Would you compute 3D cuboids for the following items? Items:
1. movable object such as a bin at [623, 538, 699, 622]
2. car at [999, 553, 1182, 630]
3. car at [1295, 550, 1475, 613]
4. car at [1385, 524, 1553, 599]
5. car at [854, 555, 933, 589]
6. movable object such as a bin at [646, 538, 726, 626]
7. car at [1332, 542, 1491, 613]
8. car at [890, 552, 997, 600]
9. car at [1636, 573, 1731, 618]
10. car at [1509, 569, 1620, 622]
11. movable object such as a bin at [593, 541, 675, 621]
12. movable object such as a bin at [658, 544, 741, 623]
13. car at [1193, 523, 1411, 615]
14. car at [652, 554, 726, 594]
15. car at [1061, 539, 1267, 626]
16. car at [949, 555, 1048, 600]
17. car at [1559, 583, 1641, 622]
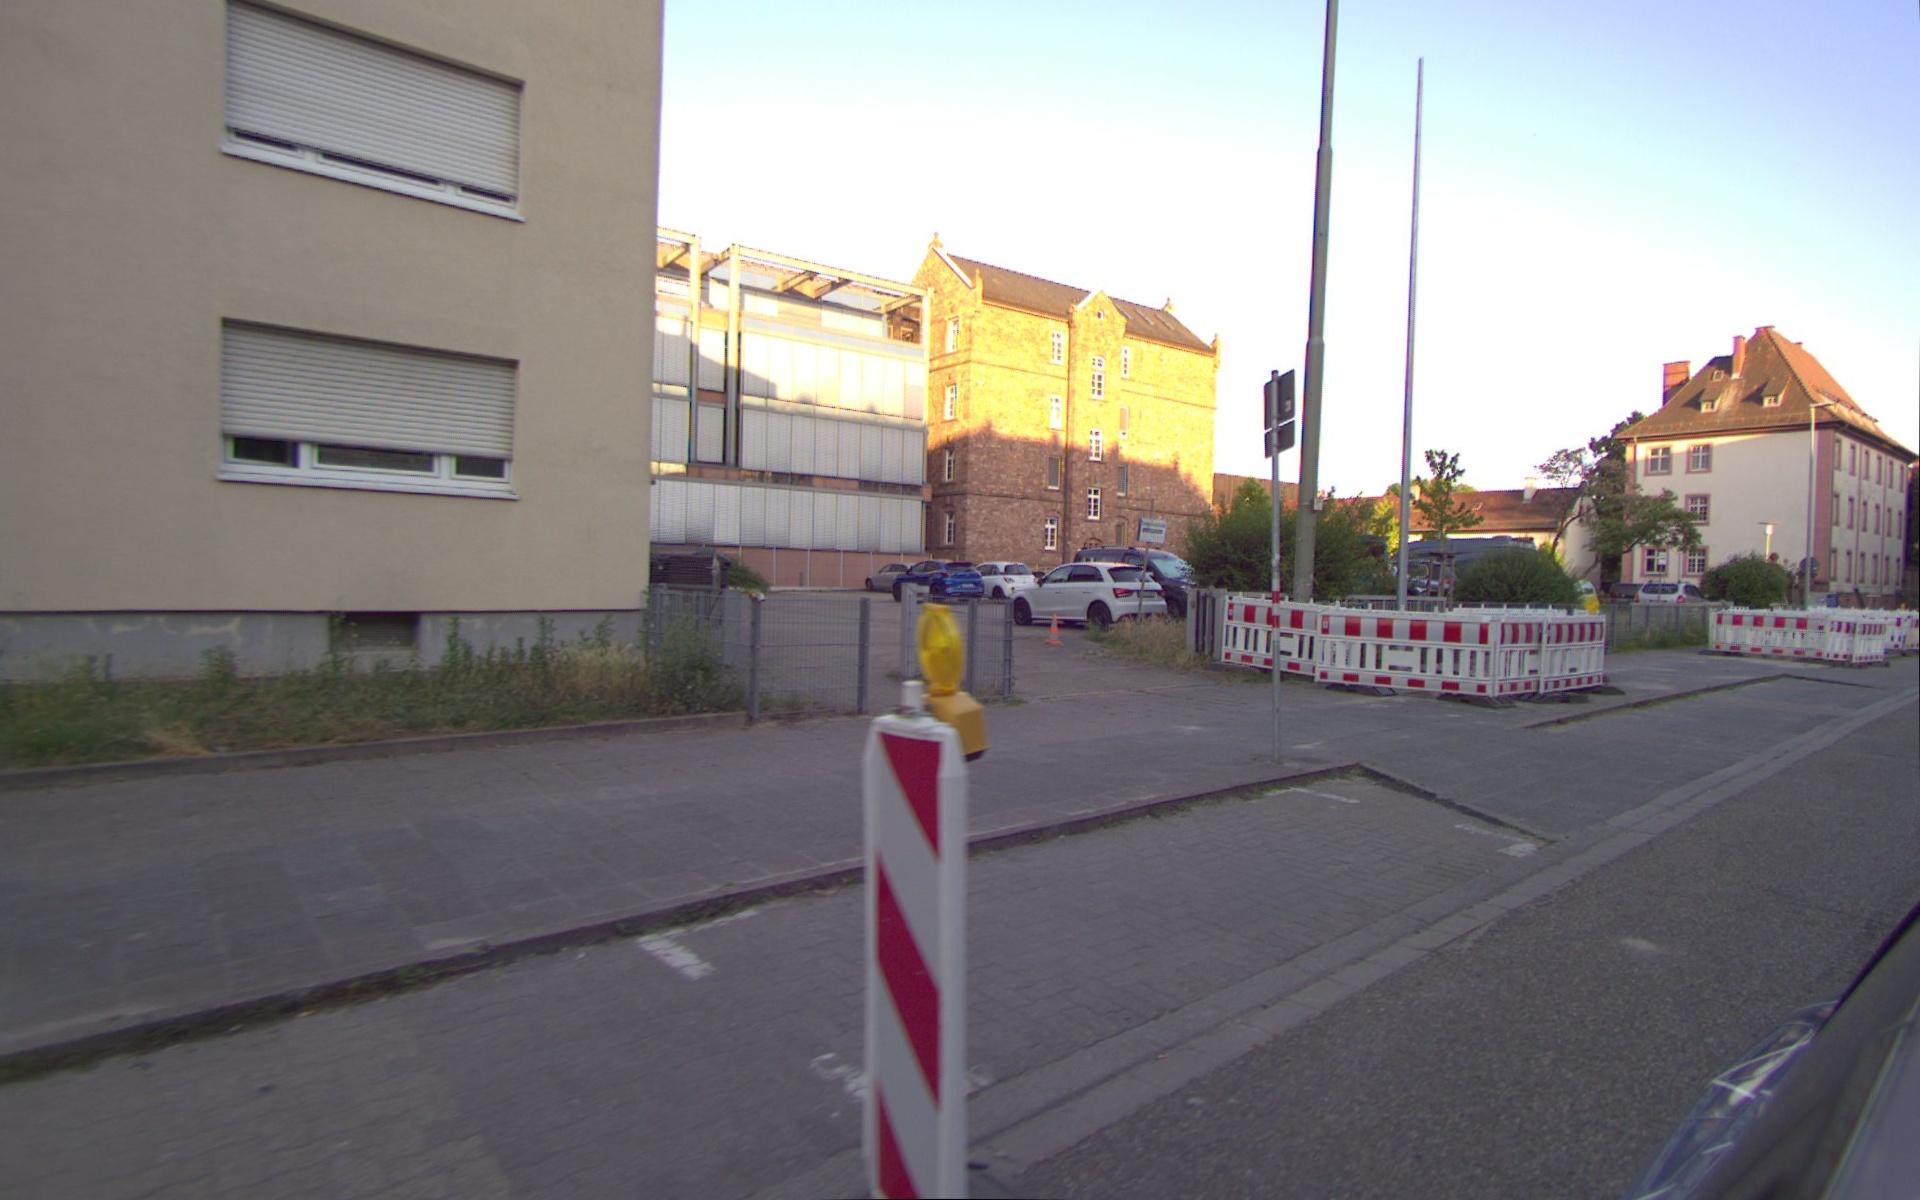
[{"bbox_3d":[-5.482,-0.378,18.526,0.994,1.483,1.000,0,2,-40],"label":"movable object such as a bin"},{"bbox_3d":[2.727,-0.231,21.900,1.664,1.470,3.841,0,2,-38],"label":"car"},{"bbox_3d":[12.265,-0.557,29.445,1.963,1.669,4.437,0,1,-36],"label":"car"},{"bbox_3d":[16.328,-1.219,32.663,1.963,2.224,4.437,0,1,-36],"label":"car"},{"bbox_3d":[-3.235,-1.366,48.677,1.793,1.536,4.147,0,2,-37],"label":"car"},{"bbox_3d":[-4.791,-0.319,17.693,0.994,1.483,1.000,0,2,-40],"label":"movable object such as a bin"},{"bbox_3d":[13.830,-0.716,31.195,1.962,2.038,4.000,1,2,-36],"label":"car"},{"bbox_3d":[-0.634,-0.864,35.521,1.946,1.536,3.946,1,2,-33],"label":"car"},{"bbox_3d":[28.409,-0.184,39.703,4.723,1.650,1.919,0,1,-40],"label":"car"},{"bbox_3d":[20.341,-0.164,34.016,4.057,1.669,1.702,0,1,-35],"label":"car"},{"bbox_3d":[-6.287,-0.377,19.489,1.044,1.483,1.389,0,2,-40],"label":"movable object such as a bin"},{"bbox_3d":[-5.130,-0.344,19.922,1.089,1.483,1.318,0,2,-40],"label":"movable object such as a bin"},{"bbox_3d":[8.755,-0.791,26.388,2.245,2.156,5.040,1,1,-33],"label":"car"},{"bbox_3d":[-11.303,-1.098,42.027,1.820,1.536,3.734,0,2,-34],"label":"car"},{"bbox_3d":[4.651,-0.472,23.673,1.969,1.832,4.491,0,2,-38],"label":"car"},{"bbox_3d":[1.327,-0.843,36.732,1.791,1.536,3.736,1,2,-31],"label":"car"},{"bbox_3d":[28.256,0.083,44.653,3.930,1.620,2.015,0,1,-41],"label":"car"}]
